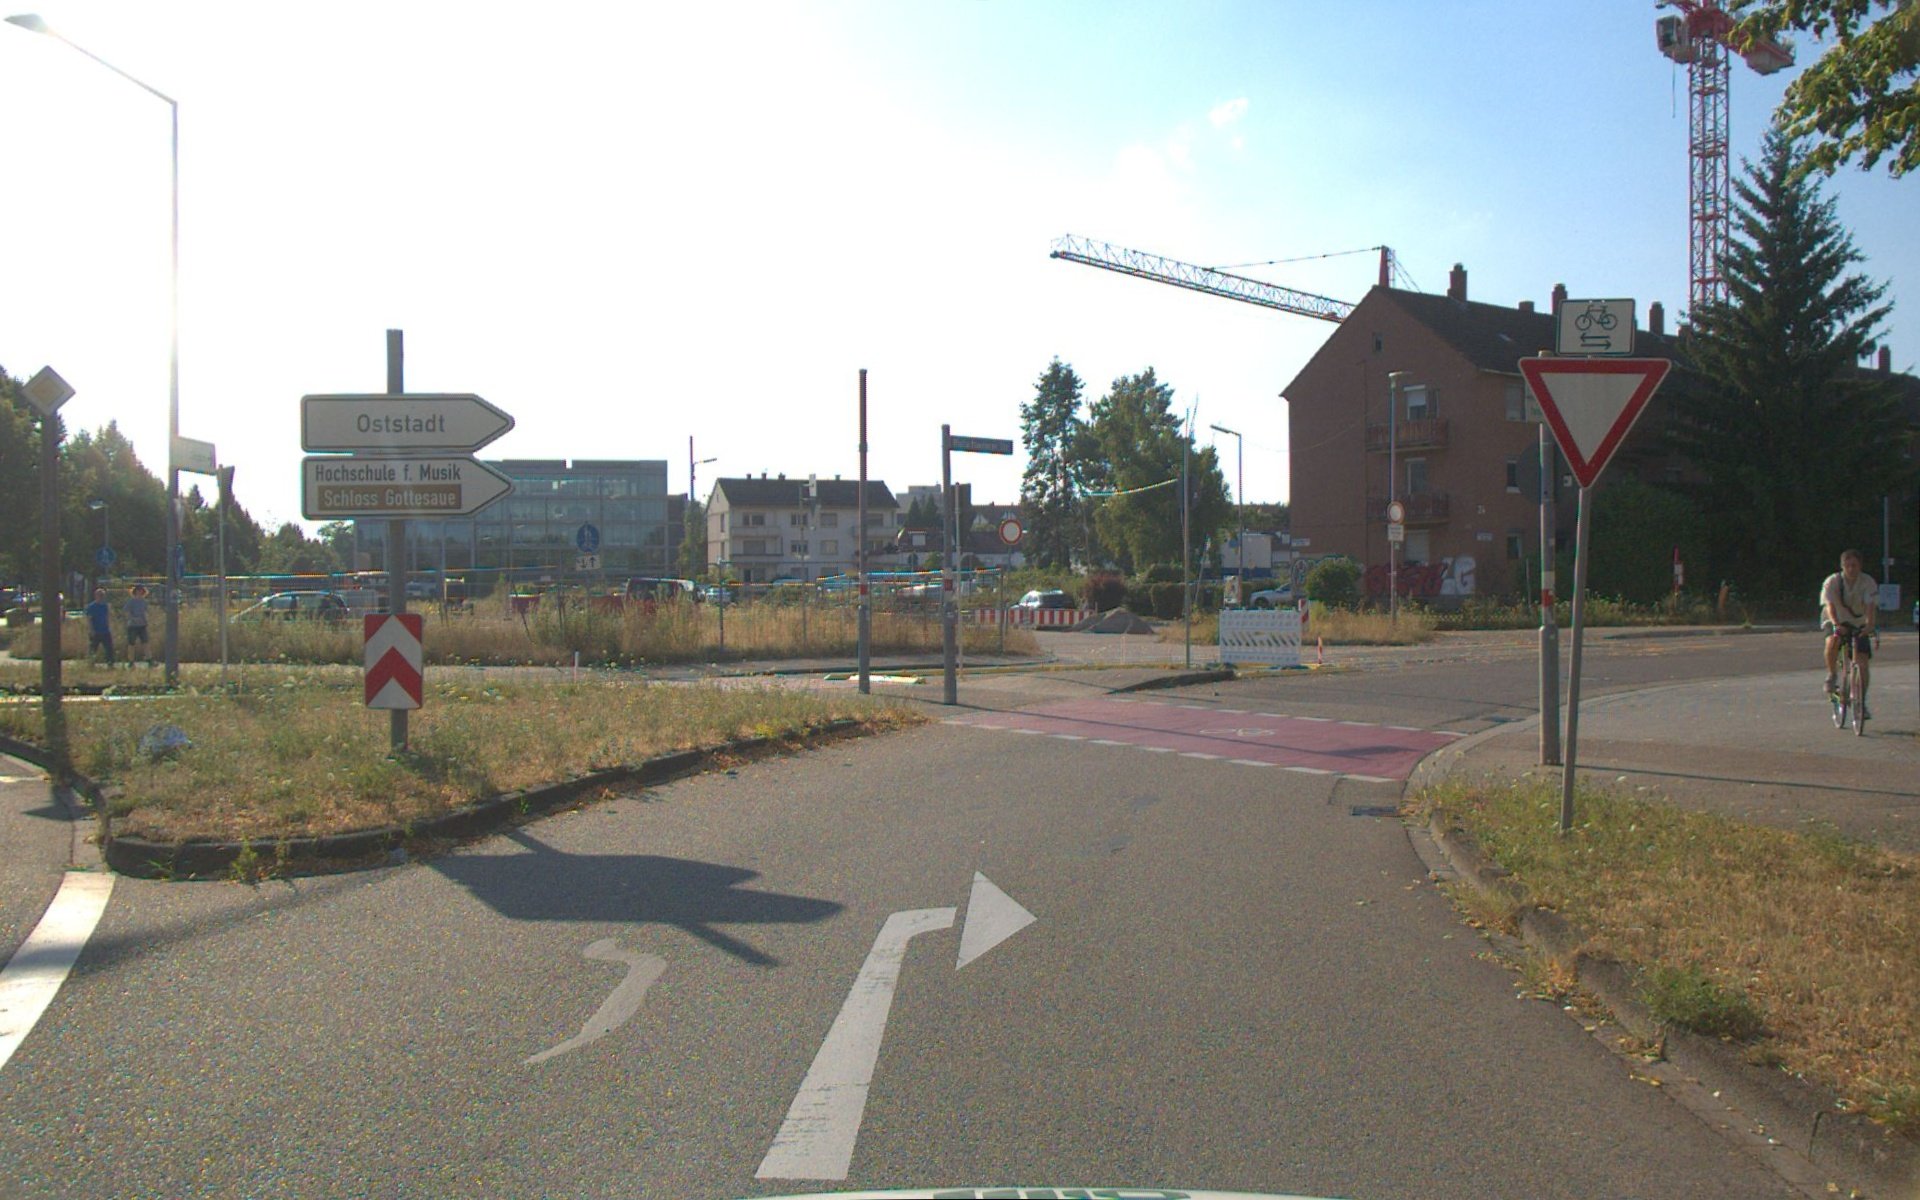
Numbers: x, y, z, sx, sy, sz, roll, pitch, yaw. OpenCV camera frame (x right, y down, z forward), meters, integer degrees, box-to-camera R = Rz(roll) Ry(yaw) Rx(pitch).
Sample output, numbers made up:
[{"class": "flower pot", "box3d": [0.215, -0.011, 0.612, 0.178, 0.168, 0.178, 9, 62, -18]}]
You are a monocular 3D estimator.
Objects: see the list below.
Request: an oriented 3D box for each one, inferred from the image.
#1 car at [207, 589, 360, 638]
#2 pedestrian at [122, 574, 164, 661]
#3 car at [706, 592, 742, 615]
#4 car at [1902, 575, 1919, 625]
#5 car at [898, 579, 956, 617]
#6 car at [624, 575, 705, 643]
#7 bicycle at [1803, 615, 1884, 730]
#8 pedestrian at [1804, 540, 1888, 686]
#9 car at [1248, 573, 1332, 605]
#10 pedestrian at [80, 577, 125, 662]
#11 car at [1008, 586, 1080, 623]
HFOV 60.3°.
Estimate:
[{"class": "car", "box3d": [-20.913, 0.406, 51.136, 4.185, 1.387, 1.981, -1, 1, -30]}, {"class": "pedestrian", "box3d": [-17.390, 0.361, 35.189, 0.749, 1.806, 0.764, -1, 0, -29]}, {"class": "car", "box3d": [-19.656, 0.269, 137.462, 2.115, 1.870, 4.335, -1, 0, -20]}, {"class": "car", "box3d": [29.838, -0.004, 50.552, 1.726, 1.446, 3.617, 1, 2, 31]}, {"class": "car", "box3d": [-1.811, -0.107, 90.161, 1.837, 1.982, 3.973, -1, 0, -22]}, {"class": "car", "box3d": [-9.561, 0.252, 53.944, 1.954, 2.049, 5.309, -1, 0, -4]}, {"class": "bicycle", "box3d": [9.016, 0.715, 16.930, 0.522, 1.074, 1.913, -2, 0, 23]}, {"class": "pedestrian", "box3d": [8.926, 0.130, 16.681, 0.638, 1.416, 0.767, -2, 0, 24]}, {"class": "car", "box3d": [16.708, -0.558, 83.632, 3.904, 1.556, 2.001, -1, 0, 20]}, {"class": "pedestrian", "box3d": [-17.772, 0.398, 34.276, 0.775, 1.738, 0.804, -1, 0, -30]}, {"class": "car", "box3d": [3.751, 0.175, 74.659, 1.963, 1.579, 3.979, -1, 0, -18]}]
